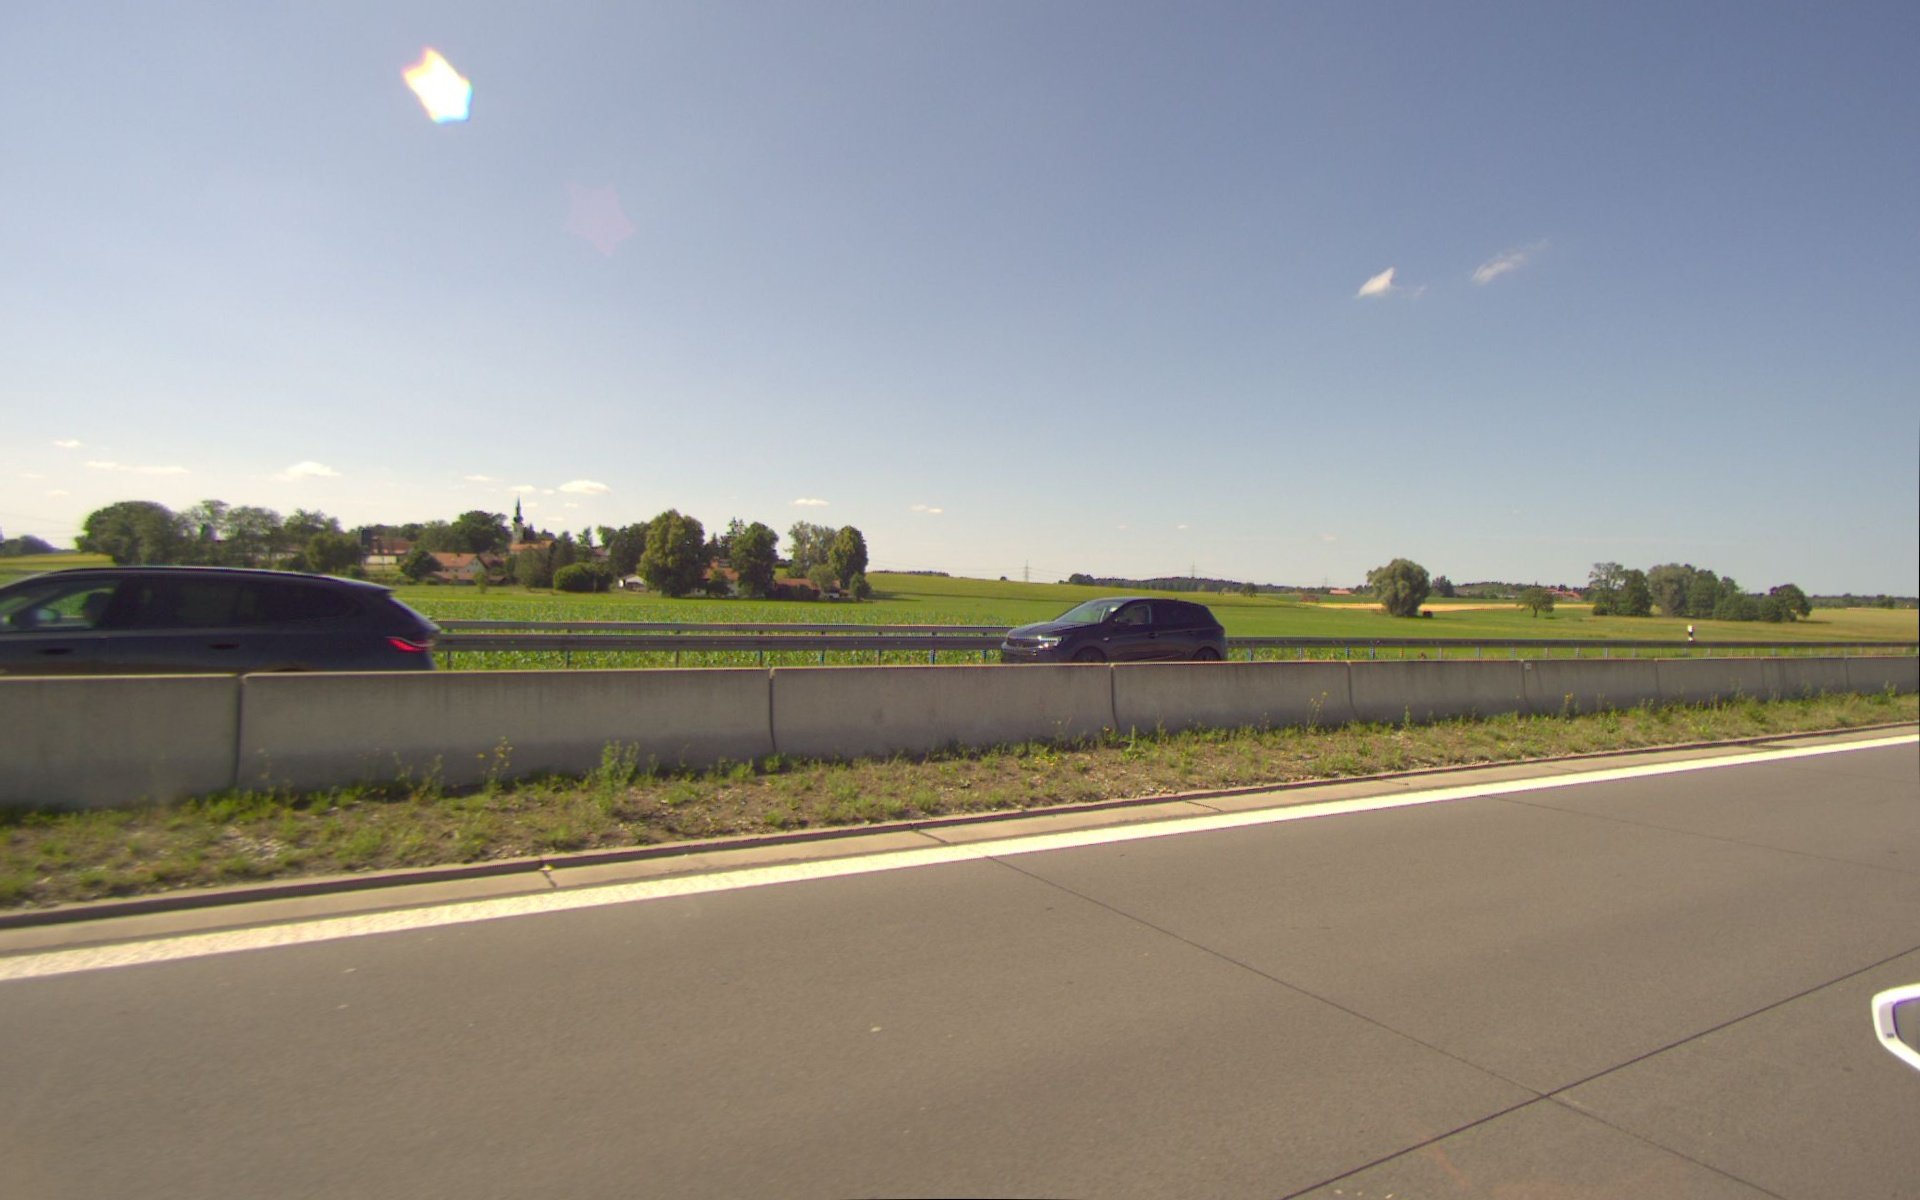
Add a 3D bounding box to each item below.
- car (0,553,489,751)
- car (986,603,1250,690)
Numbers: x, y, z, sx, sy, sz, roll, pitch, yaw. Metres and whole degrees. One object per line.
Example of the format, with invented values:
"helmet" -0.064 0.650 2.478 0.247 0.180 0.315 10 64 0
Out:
"car" -6.701 0.378 8.081 5.137 1.383 1.814 1 -1 -31
"car" 2.880 0.781 17.969 4.610 1.383 1.814 1 -1 -31
